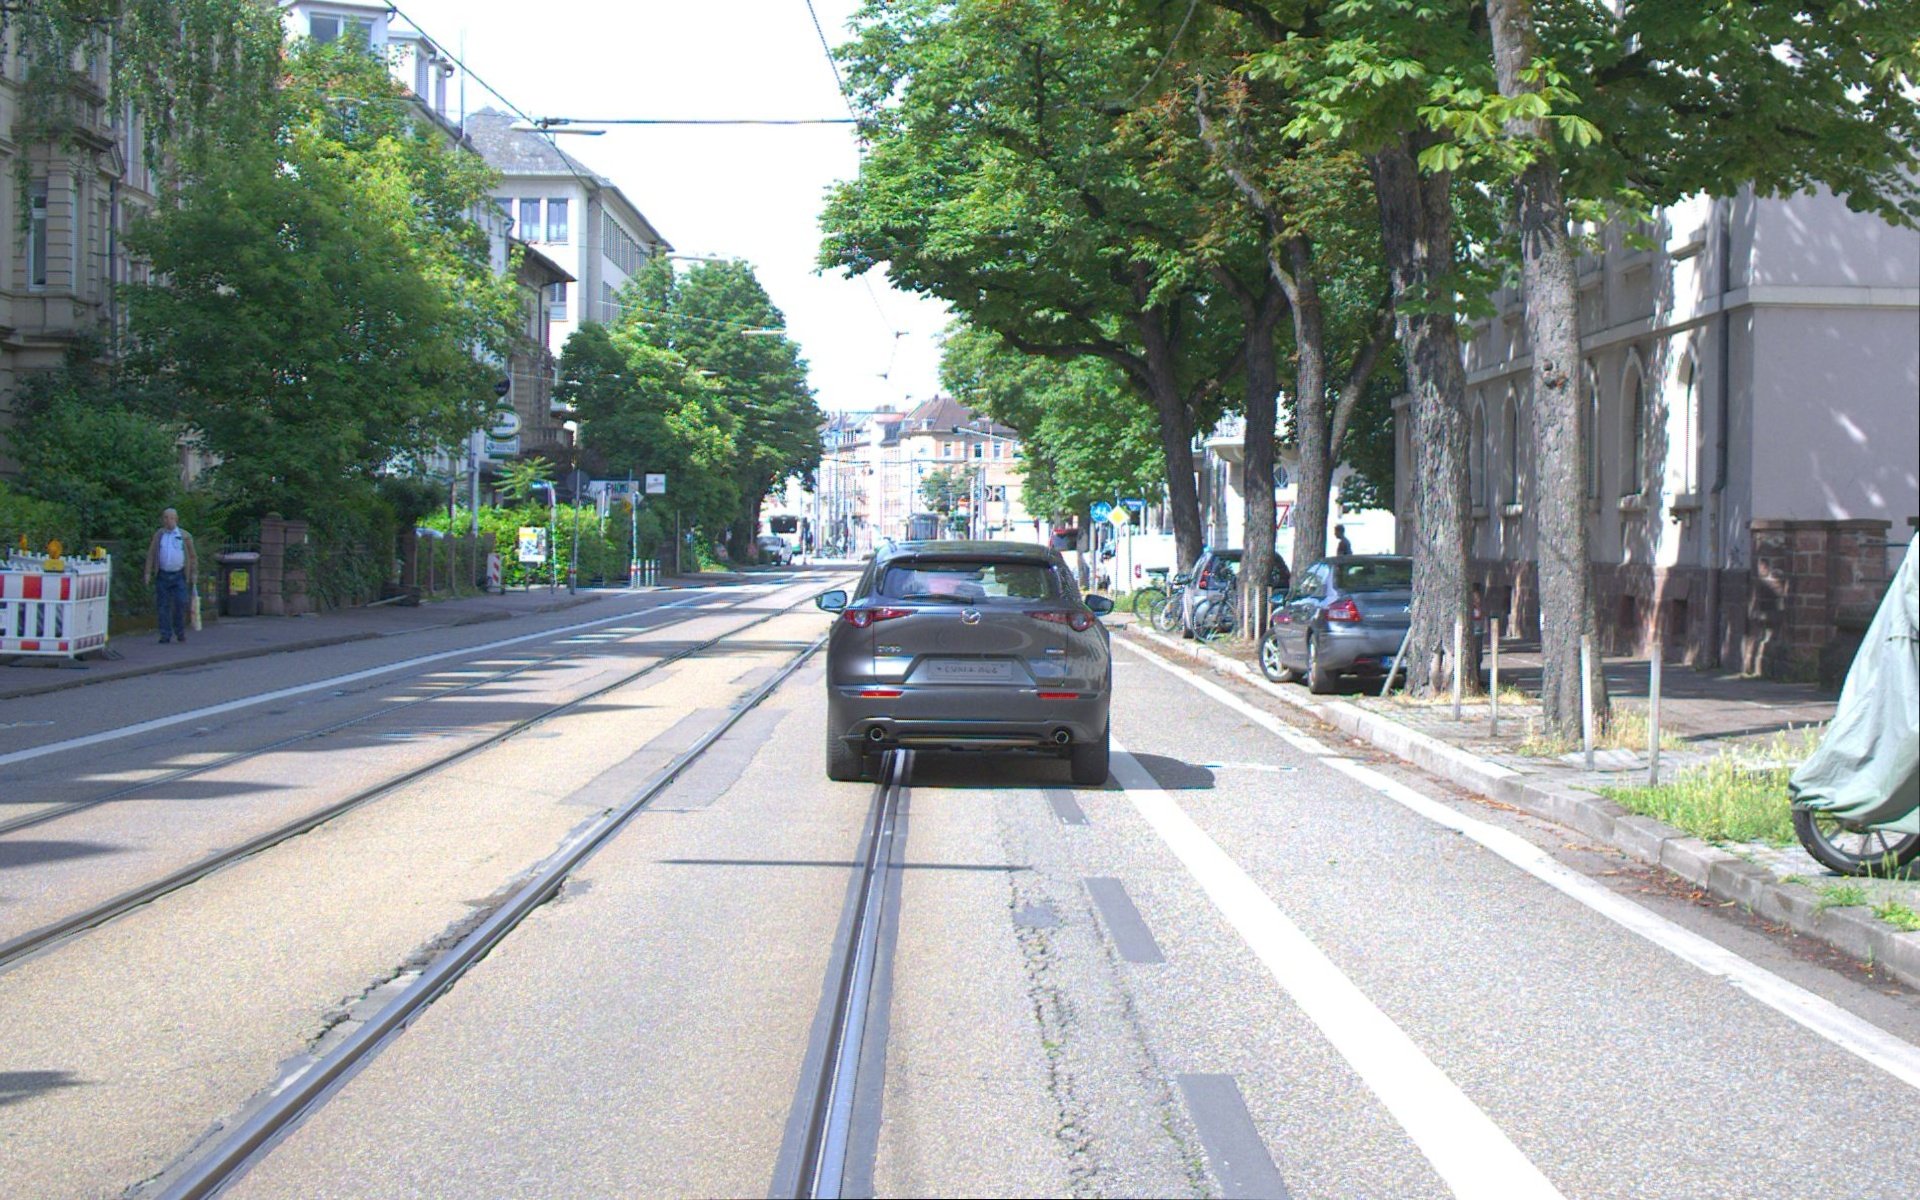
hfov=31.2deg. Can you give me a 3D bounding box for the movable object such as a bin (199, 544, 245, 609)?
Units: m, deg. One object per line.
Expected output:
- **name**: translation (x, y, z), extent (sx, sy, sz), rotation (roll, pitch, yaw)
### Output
- **movable object such as a bin**: translation (-12.577, -0.407, 58.625), extent (0.549, 1.104, 0.789), rotation (1, 1, 4)

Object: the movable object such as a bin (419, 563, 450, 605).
- **movable object such as a bin**: translation (-11.042, -0.345, 72.231), extent (0.562, 0.873, 0.616), rotation (1, 1, 0)

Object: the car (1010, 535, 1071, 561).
- **car**: translation (5.592, -3.632, 238.405), extent (3.805, 1.612, 1.638), rotation (3, 1, -18)

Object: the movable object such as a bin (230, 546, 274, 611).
- **movable object such as a bin**: translation (-12.041, -0.367, 58.476), extent (0.538, 1.090, 0.789), rotation (1, 1, 4)

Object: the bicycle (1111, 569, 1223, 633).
- **bicycle**: translation (3.563, 0.012, 59.260), extent (1.903, 1.068, 0.402), rotation (1, 1, 0)

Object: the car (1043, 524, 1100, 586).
- **car**: translation (3.637, -1.494, 112.968), extent (1.720, 1.962, 4.207), rotation (1, 1, 0)

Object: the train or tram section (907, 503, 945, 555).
- **train or tram section**: translation (-2.491, -5.232, 254.381), extent (2.571, 3.759, 13.026), rotation (0, 1, 0)

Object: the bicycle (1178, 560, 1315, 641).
- **bicycle**: translation (4.175, 0.009, 50.096), extent (1.938, 1.172, 0.513), rotation (0, 0, 12)

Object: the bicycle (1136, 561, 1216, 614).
- **bicycle**: translation (4.043, -0.235, 64.304), extent (1.491, 0.980, 0.259), rotation (0, 0, 2)

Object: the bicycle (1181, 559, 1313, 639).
- **bicycle**: translation (4.228, -0.010, 50.651), extent (1.895, 1.172, 0.513), rotation (0, 0, 12)

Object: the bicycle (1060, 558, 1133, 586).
- **bicycle**: translation (4.348, -0.891, 109.723), extent (2.275, 0.858, 0.672), rotation (1, 1, -1)

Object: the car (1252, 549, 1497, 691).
- **car**: translation (4.395, 0.170, 37.102), extent (1.846, 1.404, 4.395), rotation (-1, 1, -3)

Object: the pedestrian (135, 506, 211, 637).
- **pedestrian**: translation (-10.382, -0.384, 45.384), extent (0.822, 1.700, 0.891), rotation (1, 1, -3)

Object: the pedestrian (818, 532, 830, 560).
- **pedestrian**: translation (-9.931, -3.935, 251.328), extent (0.884, 2.007, 0.618), rotation (1, 1, -4)

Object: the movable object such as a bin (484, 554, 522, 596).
- **movable object such as a bin**: translation (-11.290, -0.622, 84.994), extent (0.745, 0.984, 1.114), rotation (3, 1, -1)

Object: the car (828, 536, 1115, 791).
- **car**: translation (0.047, 0.354, 22.584), extent (1.720, 1.521, 3.590), rotation (1, 1, -1)

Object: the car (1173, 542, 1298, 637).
- **car**: translation (4.363, -0.187, 54.854), extent (1.666, 1.425, 3.766), rotation (-1, 1, 0)

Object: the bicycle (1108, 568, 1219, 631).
- **bicycle**: translation (3.558, -0.015, 60.180), extent (1.903, 1.068, 0.402), rotation (1, 1, 0)

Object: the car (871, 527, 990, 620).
- **car**: translation (-0.540, -0.501, 62.033), extent (1.993, 1.523, 4.000), rotation (3, 1, -1)

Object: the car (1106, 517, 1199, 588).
- **car**: translation (5.368, -1.354, 96.491), extent (1.786, 1.932, 4.992), rotation (1, 1, -6)

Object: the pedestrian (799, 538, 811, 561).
- **pedestrian**: translation (-10.249, -3.321, 226.978), extent (0.751, 1.505, 0.824), rotation (1, 1, -5)

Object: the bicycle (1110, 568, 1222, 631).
- **bicycle**: translation (3.575, -0.008, 59.778), extent (1.903, 1.068, 0.402), rotation (1, 1, 0)

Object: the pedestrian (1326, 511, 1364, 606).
- **pedestrian**: translation (7.528, -0.804, 67.265), extent (0.610, 1.829, 0.879), rotation (0, -1, -2)

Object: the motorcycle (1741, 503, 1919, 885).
- **motorcycle**: translation (4.592, 0.429, 14.563), extent (2.385, 1.592, 0.677), rotation (4, 2, 38)
